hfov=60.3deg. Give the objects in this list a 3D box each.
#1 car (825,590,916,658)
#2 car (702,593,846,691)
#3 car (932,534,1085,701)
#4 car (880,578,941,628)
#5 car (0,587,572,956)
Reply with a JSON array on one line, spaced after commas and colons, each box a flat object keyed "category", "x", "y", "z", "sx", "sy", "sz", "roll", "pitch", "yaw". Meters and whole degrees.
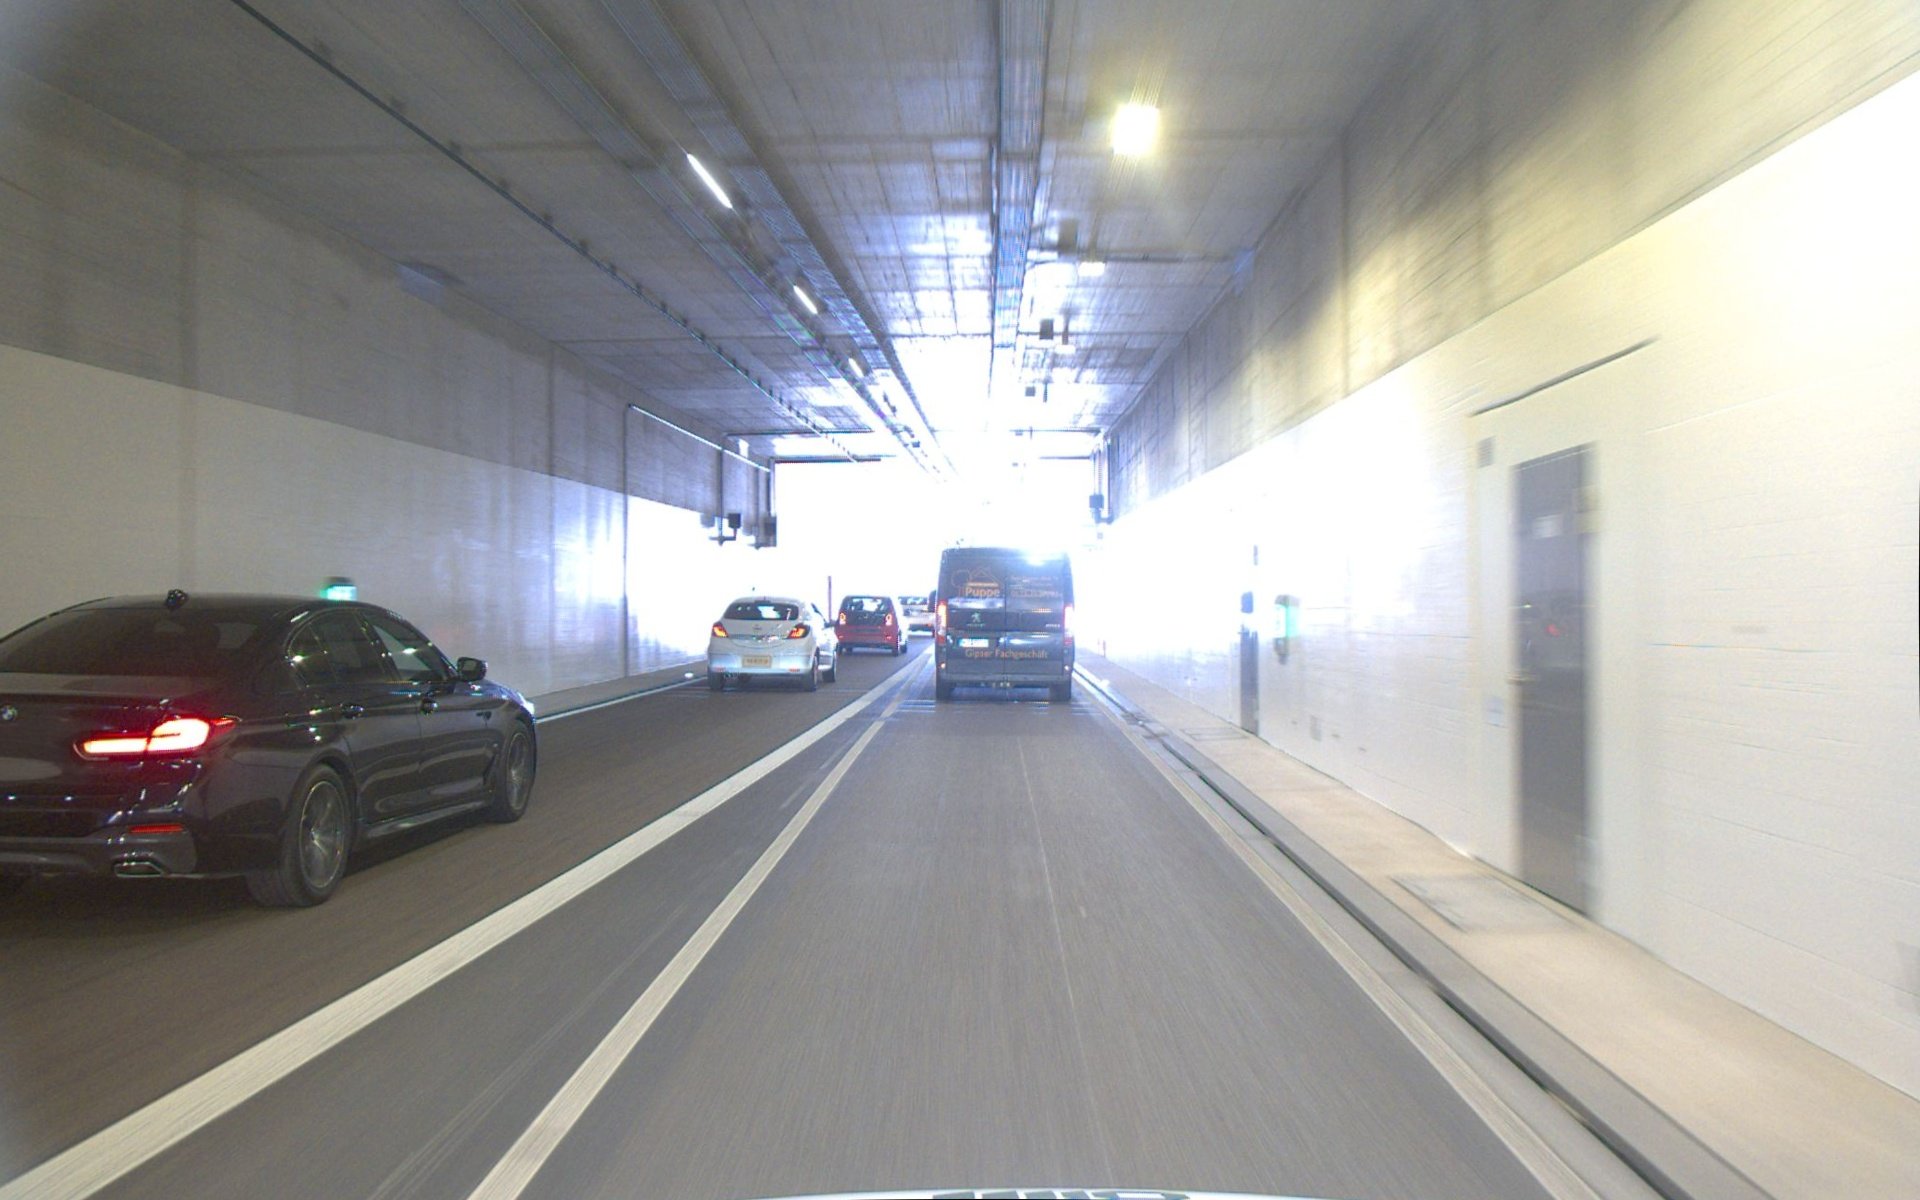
[{"category": "car", "x": -2.173, "y": 0.558, "z": 41.373, "sx": 1.777, "sy": 1.538, "sz": 4.222, "roll": 1, "pitch": 1, "yaw": 3}, {"category": "car", "x": -2.905, "y": 0.628, "z": 26.631, "sx": 1.673, "sy": 1.438, "sz": 3.975, "roll": 1, "pitch": 0, "yaw": 3}, {"category": "car", "x": 0.738, "y": 0.214, "z": 25.455, "sx": 2.114, "sy": 2.305, "sz": 4.638, "roll": 1, "pitch": 1, "yaw": 2}, {"category": "car", "x": -1.652, "y": 0.115, "z": 56.646, "sx": 1.838, "sy": 1.609, "sz": 4.220, "roll": 1, "pitch": -1, "yaw": 1}, {"category": "car", "x": -3.696, "y": 0.687, "z": 9.194, "sx": 1.660, "sy": 1.447, "sz": 4.853, "roll": 2, "pitch": 0, "yaw": 3}]
